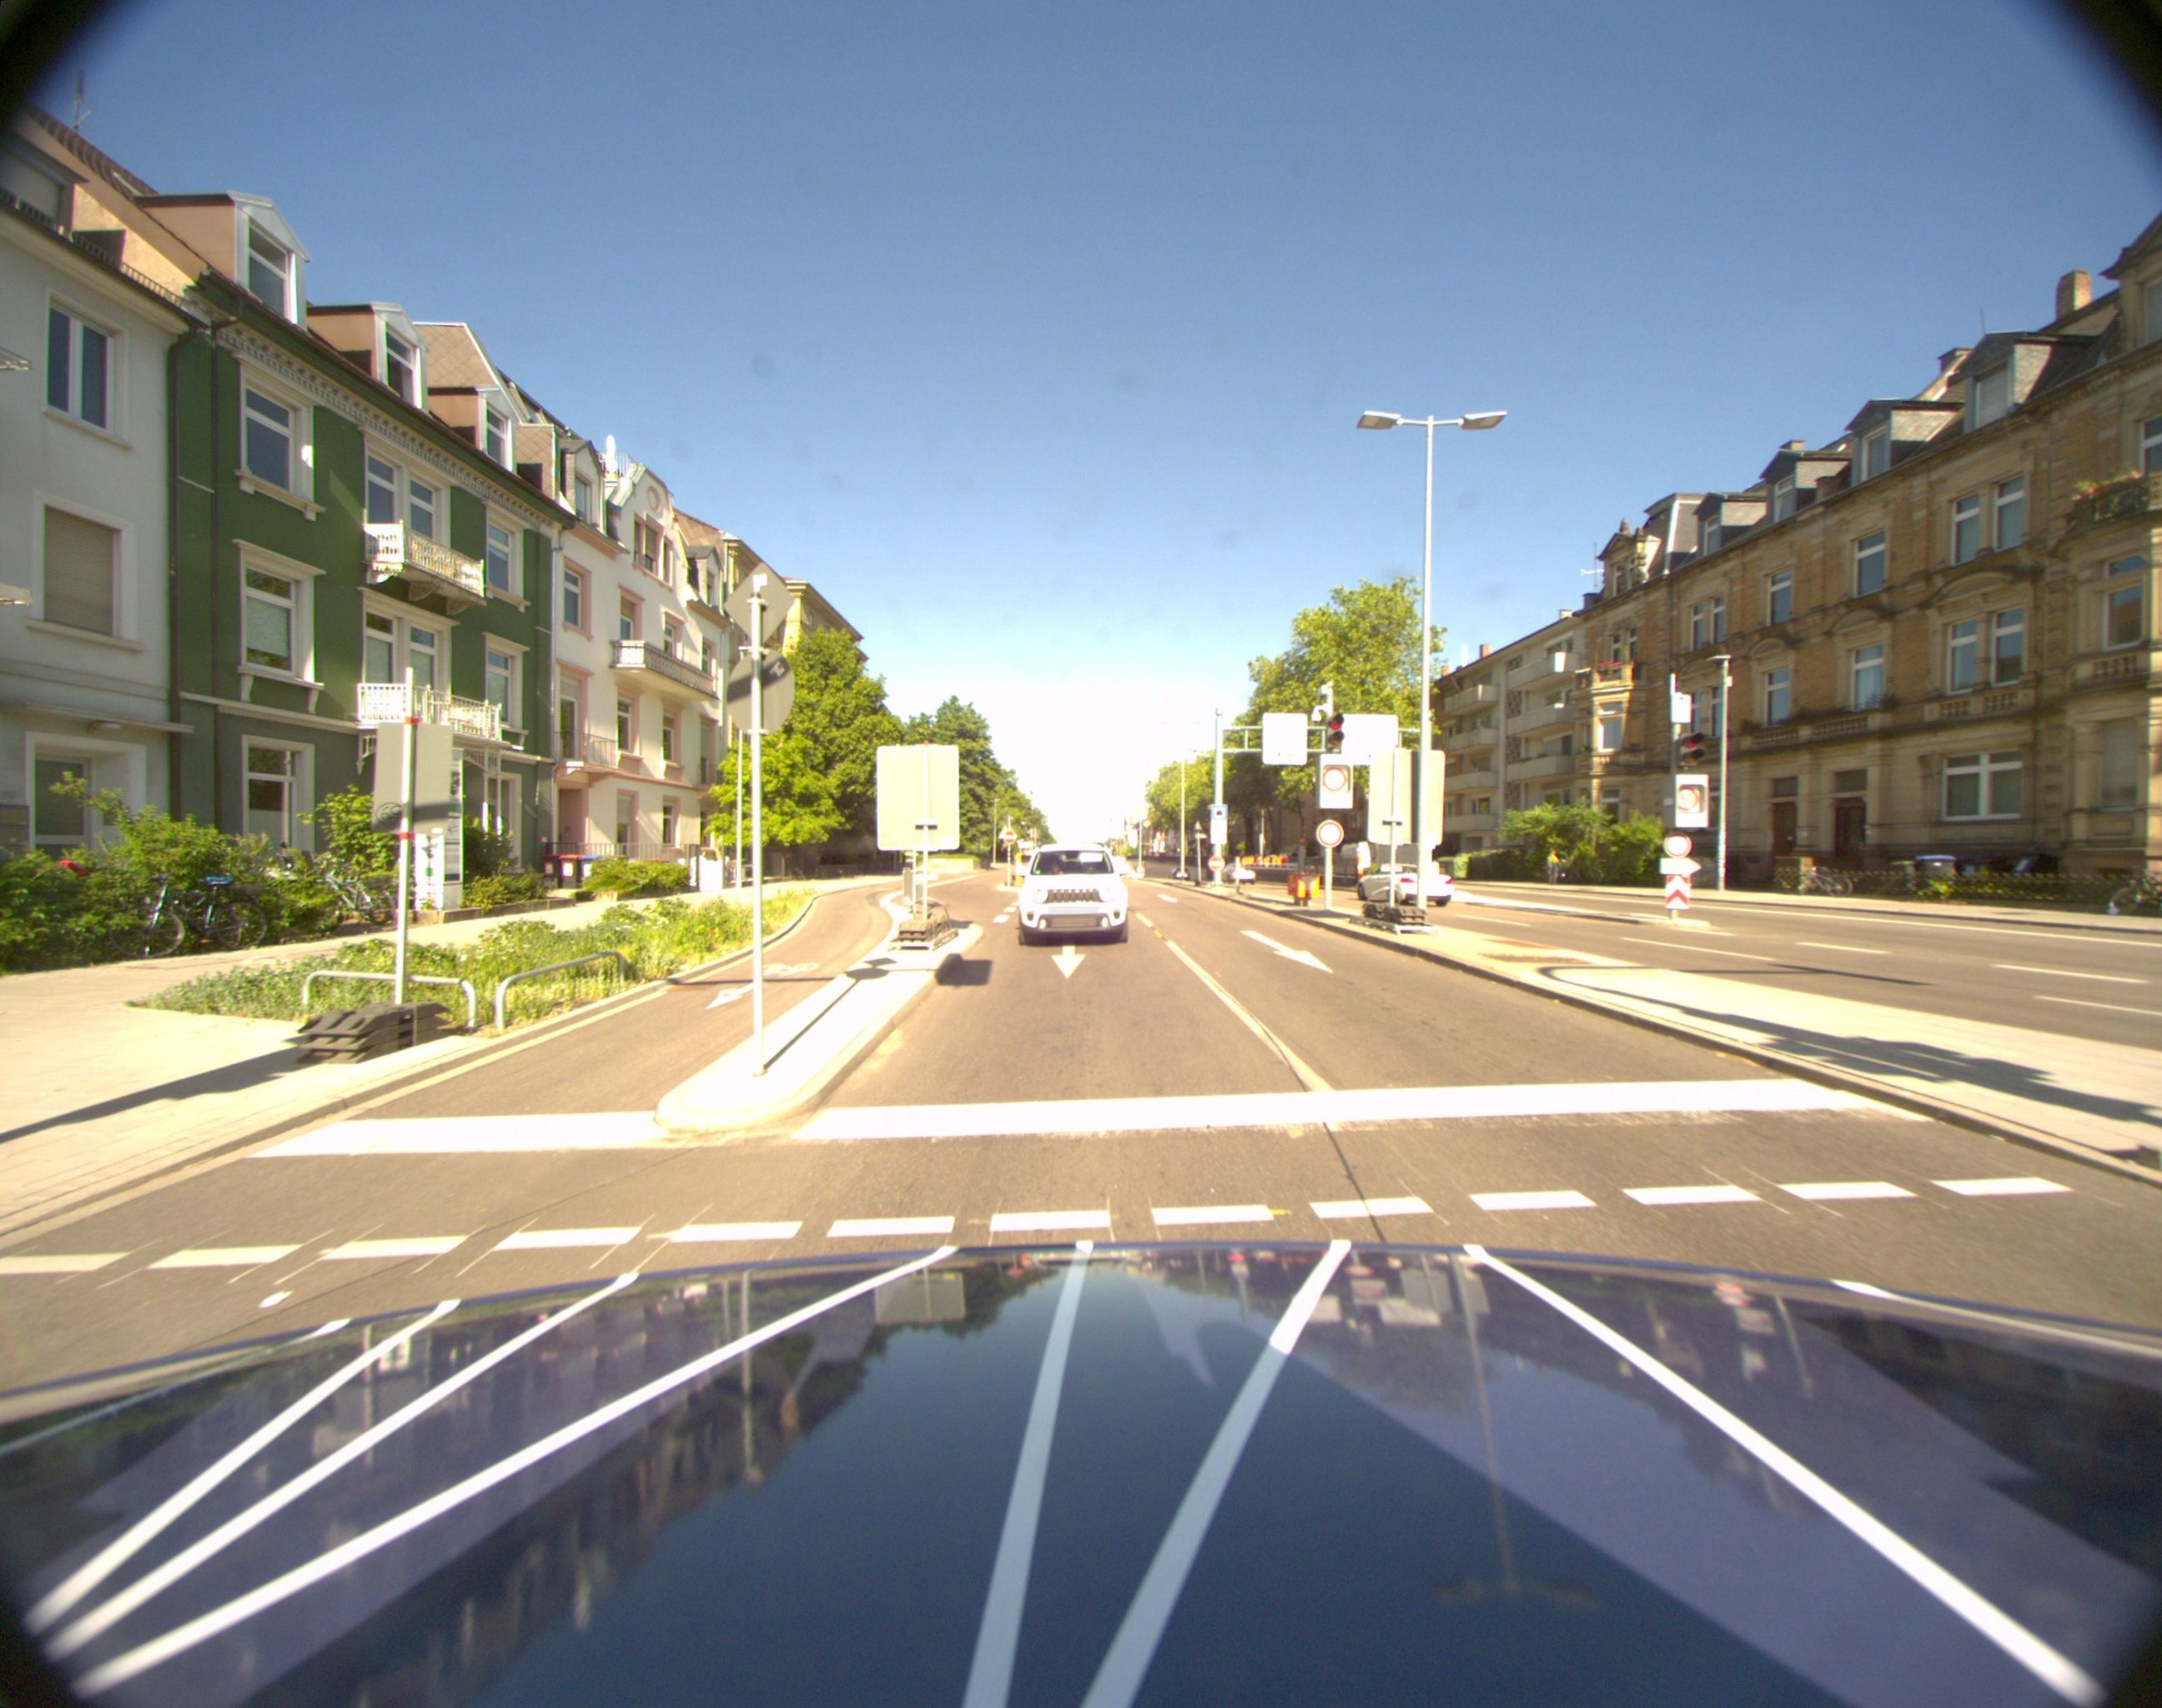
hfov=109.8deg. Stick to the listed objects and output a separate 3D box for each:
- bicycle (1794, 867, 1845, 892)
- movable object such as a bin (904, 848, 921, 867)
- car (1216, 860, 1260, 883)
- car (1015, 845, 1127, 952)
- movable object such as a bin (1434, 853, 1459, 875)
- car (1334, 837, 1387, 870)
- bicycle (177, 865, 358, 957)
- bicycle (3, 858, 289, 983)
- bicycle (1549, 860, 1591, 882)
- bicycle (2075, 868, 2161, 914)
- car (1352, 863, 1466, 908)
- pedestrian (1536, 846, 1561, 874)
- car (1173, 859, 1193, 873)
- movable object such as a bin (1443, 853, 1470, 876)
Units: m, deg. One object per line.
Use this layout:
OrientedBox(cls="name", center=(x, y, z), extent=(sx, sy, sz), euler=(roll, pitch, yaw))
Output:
OrientedBox(cls="bicycle", center=(23.717, 0.801, 24.425), extent=(0.299, 0.766, 1.414), euler=(0, 0, 1))
OrientedBox(cls="movable object such as a bin", center=(-12.721, 0.299, 57.365), extent=(0.975, 1.389, 1.285), euler=(2, -1, -23))
OrientedBox(cls="car", center=(10.947, 1.255, 53.237), extent=(1.999, 1.443, 4.392), euler=(-3, -3, -1))
OrientedBox(cls="car", center=(-0.183, 0.725, 13.684), extent=(1.744, 1.647, 3.690), euler=(0, -1, -1))
OrientedBox(cls="movable object such as a bin", center=(22.956, 0.628, 47.743), extent=(0.895, 1.354, 1.314), euler=(2, -1, -1))
OrientedBox(cls="car", center=(21.839, -0.003, 59.598), extent=(2.250, 2.431, 5.288), euler=(2, -1, 1))
OrientedBox(cls="bicycle", center=(-13.496, 0.929, 12.651), extent=(2.261, 1.476, 0.638), euler=(0, 0, -2))
OrientedBox(cls="bicycle", center=(-12.177, 0.781, 10.087), extent=(0.710, 1.435, 2.491), euler=(-2, 0, -1))
OrientedBox(cls="bicycle", center=(23.523, 0.789, 36.610), extent=(0.468, 0.999, 2.250), euler=(-2, 0, -2))
OrientedBox(cls="bicycle", center=(23.697, 0.821, 17.021), extent=(0.305, 0.952, 1.940), euler=(0, 0, 0))
OrientedBox(cls="car", center=(10.918, 0.997, 25.627), extent=(1.936, 1.337, 4.315), euler=(0, 0, -1))
OrientedBox(cls="pedestrian", center=(23.006, 0.281, 37.403), extent=(0.568, 1.369, 1.090), euler=(0, 0, -2))
OrientedBox(cls="car", center=(11.146, 1.292, 83.304), extent=(1.611, 1.432, 4.310), euler=(3, 0, 0))
OrientedBox(cls="movable object such as a bin", center=(22.893, 0.615, 46.350), extent=(0.895, 1.352, 1.474), euler=(2, -1, 1))
